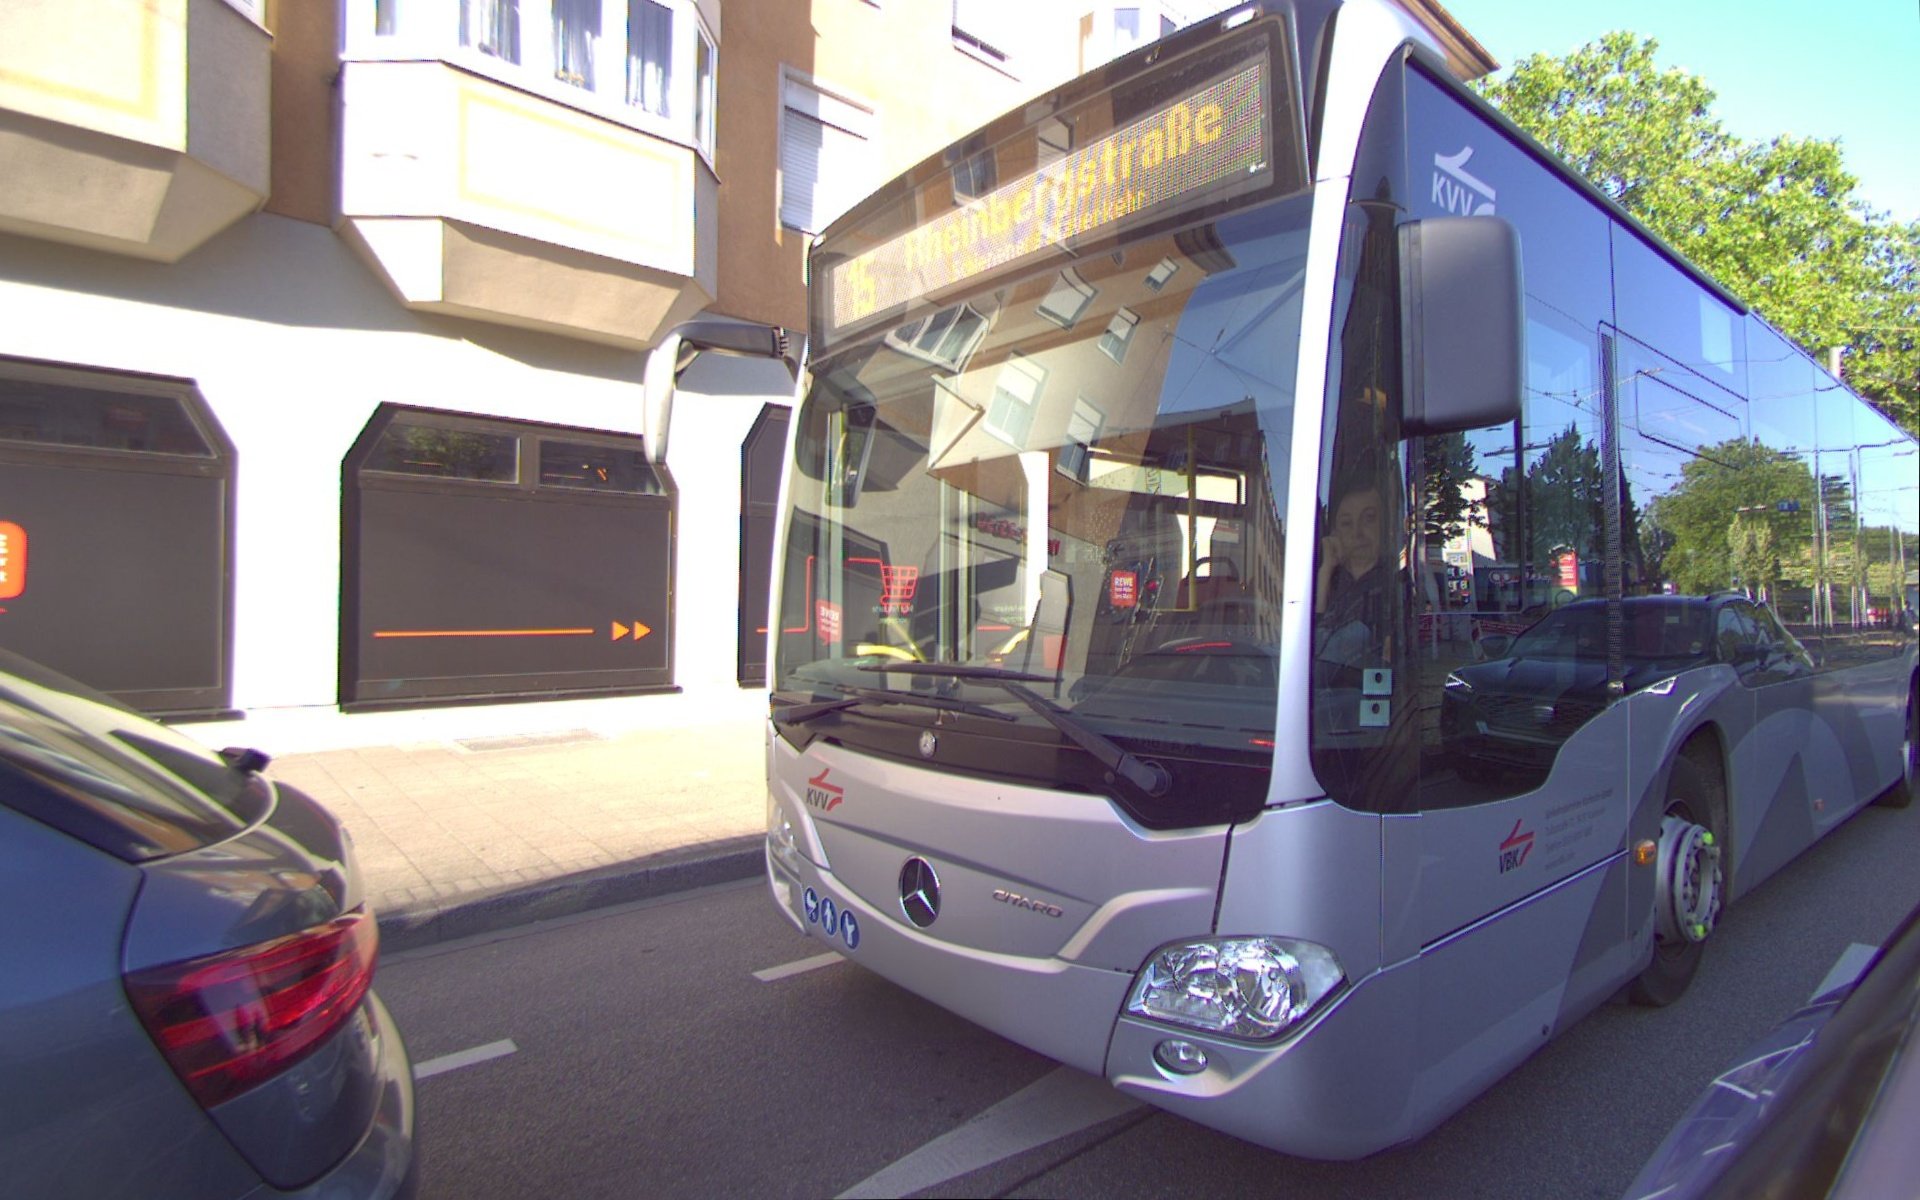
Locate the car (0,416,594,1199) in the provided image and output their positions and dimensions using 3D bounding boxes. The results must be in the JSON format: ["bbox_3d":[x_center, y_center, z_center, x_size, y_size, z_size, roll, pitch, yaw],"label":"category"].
[{"bbox_3d":[-2.568,0.598,0.662,4.014,1.595,1.773,0,1,-41],"label":"car"}]

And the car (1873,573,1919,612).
[{"bbox_3d":[41.715,-0.307,44.507,3.930,1.650,1.799,1,2,-41],"label":"car"}]

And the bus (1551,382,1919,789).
[{"bbox_3d":[9.809,-0.110,11.471,8.698,3.095,2.743,0,0,-41],"label":"bus"}]

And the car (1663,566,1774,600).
[{"bbox_3d":[37.702,-0.792,50.364,1.770,1.570,4.120,0,-1,-39],"label":"car"}]

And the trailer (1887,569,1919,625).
[{"bbox_3d":[46.379,-0.147,48.835,4.569,2.620,1.888,0,1,-41],"label":"trailer"}]

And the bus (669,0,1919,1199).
[{"bbox_3d":[3.184,-0.116,5.676,8.971,3.095,2.743,0,0,-41],"label":"bus"}]
